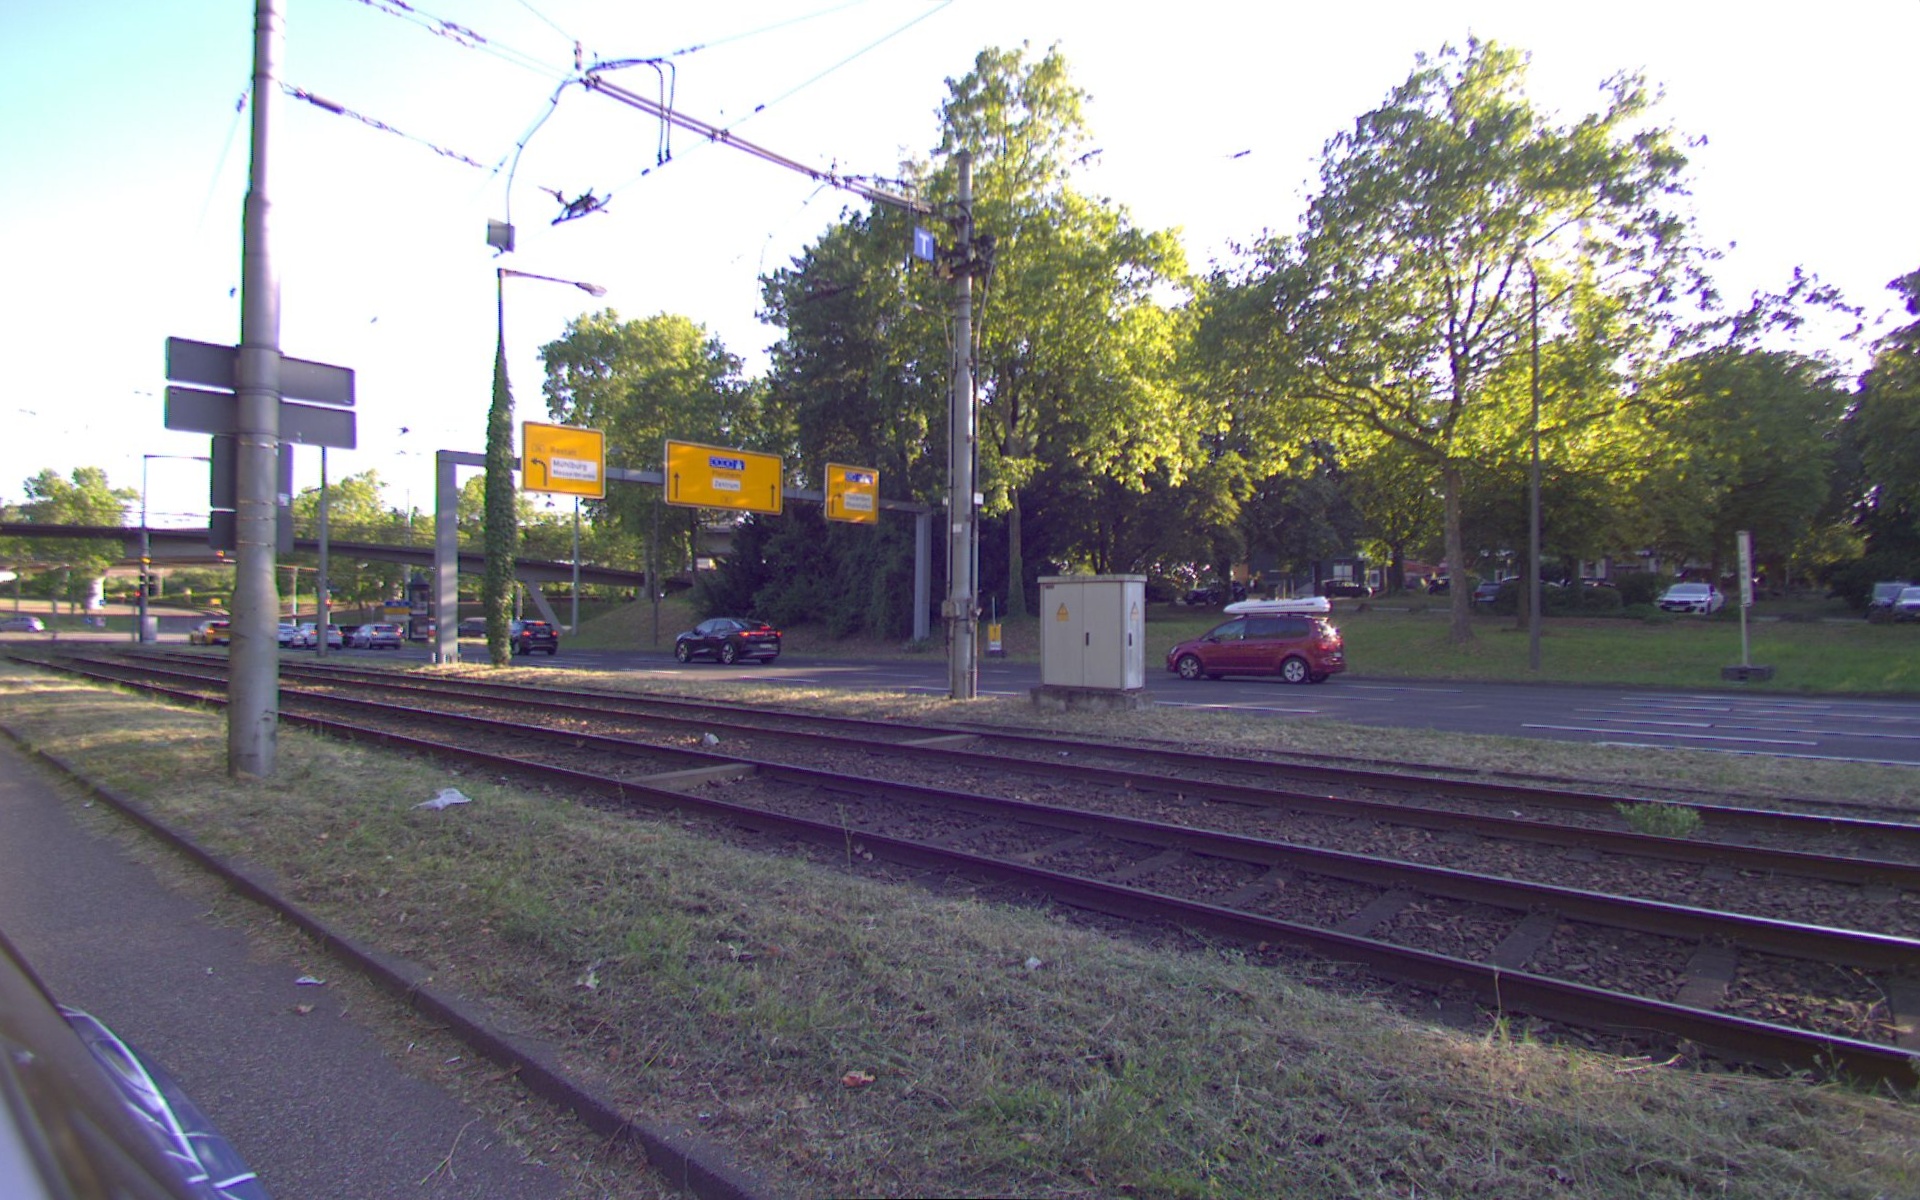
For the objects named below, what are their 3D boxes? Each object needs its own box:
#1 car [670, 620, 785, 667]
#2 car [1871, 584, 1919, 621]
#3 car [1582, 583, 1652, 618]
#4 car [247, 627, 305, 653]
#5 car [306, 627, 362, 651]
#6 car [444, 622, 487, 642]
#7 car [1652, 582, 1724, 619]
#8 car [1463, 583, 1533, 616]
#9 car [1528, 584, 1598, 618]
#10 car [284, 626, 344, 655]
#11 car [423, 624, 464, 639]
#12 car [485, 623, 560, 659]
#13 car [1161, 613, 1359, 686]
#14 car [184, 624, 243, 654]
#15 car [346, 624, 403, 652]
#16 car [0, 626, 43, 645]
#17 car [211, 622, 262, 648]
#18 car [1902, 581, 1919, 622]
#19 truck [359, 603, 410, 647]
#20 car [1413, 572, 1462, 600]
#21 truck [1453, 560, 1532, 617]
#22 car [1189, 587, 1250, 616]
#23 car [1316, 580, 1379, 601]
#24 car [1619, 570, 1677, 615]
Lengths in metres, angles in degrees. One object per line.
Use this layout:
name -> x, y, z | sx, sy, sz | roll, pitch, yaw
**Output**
car -> -8.164, 1.477, 35.355 | 4.332, 1.556, 1.713 | -1, -2, 41
car -> 43.976, 0.099, 47.227 | 3.998, 1.628, 1.864 | -1, 0, -43
car -> 30.041, 0.010, 46.222 | 1.942, 1.521, 4.039 | 0, 0, 44
car -> -40.567, 2.335, 59.961 | 4.226, 1.435, 1.893 | -1, -1, 42
car -> -39.755, 2.440, 64.235 | 4.224, 1.435, 1.844 | -1, -1, 40
car -> -50.453, 3.258, 103.261 | 3.748, 1.872, 1.682 | -1, 0, -30
car -> 31.568, 0.006, 43.846 | 1.942, 1.521, 4.039 | 0, 0, 44
car -> 26.177, -0.040, 49.188 | 1.942, 1.521, 4.039 | 0, 0, 44
car -> 28.432, 0.019, 47.659 | 1.942, 1.521, 4.039 | 0, 0, 44
car -> -35.734, 2.204, 55.962 | 3.997, 1.556, 1.744 | -1, -1, 40
car -> -54.406, 3.307, 106.626 | 3.810, 1.421, 1.817 | -1, 0, -30
car -> -19.792, 1.844, 45.733 | 3.974, 1.569, 1.731 | -2, -3, 45
car -> 7.308, 1.170, 24.887 | 4.306, 1.647, 1.819 | -1, -2, 39
car -> -40.797, 2.123, 55.262 | 3.997, 1.556, 1.744 | -1, -1, 40
car -> -34.955, 2.238, 60.420 | 3.998, 1.556, 1.789 | -1, -1, 41
car -> -84.283, 3.191, 90.402 | 3.314, 1.581, 1.616 | -1, -1, -32
car -> -45.830, 2.182, 64.051 | 4.228, 1.561, 1.892 | -1, -2, 44
car -> 37.587, 0.040, 38.894 | 1.942, 1.521, 4.039 | 0, 0, 44
truck -> -40.295, 1.741, 70.774 | 2.248, 2.901, 6.895 | 0, -1, -37
car -> 33.565, -0.989, 71.062 | 2.290, 1.864, 5.214 | -1, 1, 34
truck -> 31.750, -0.684, 60.286 | 2.503, 3.191, 6.137 | 0, 0, 45
car -> 15.403, 0.065, 59.960 | 1.791, 1.657, 3.942 | -1, -1, 44
car -> 29.517, -0.729, 77.134 | 4.045, 1.521, 1.939 | -1, 0, 4
car -> 36.893, -0.395, 54.240 | 2.161, 2.320, 4.348 | 0, 0, 40
